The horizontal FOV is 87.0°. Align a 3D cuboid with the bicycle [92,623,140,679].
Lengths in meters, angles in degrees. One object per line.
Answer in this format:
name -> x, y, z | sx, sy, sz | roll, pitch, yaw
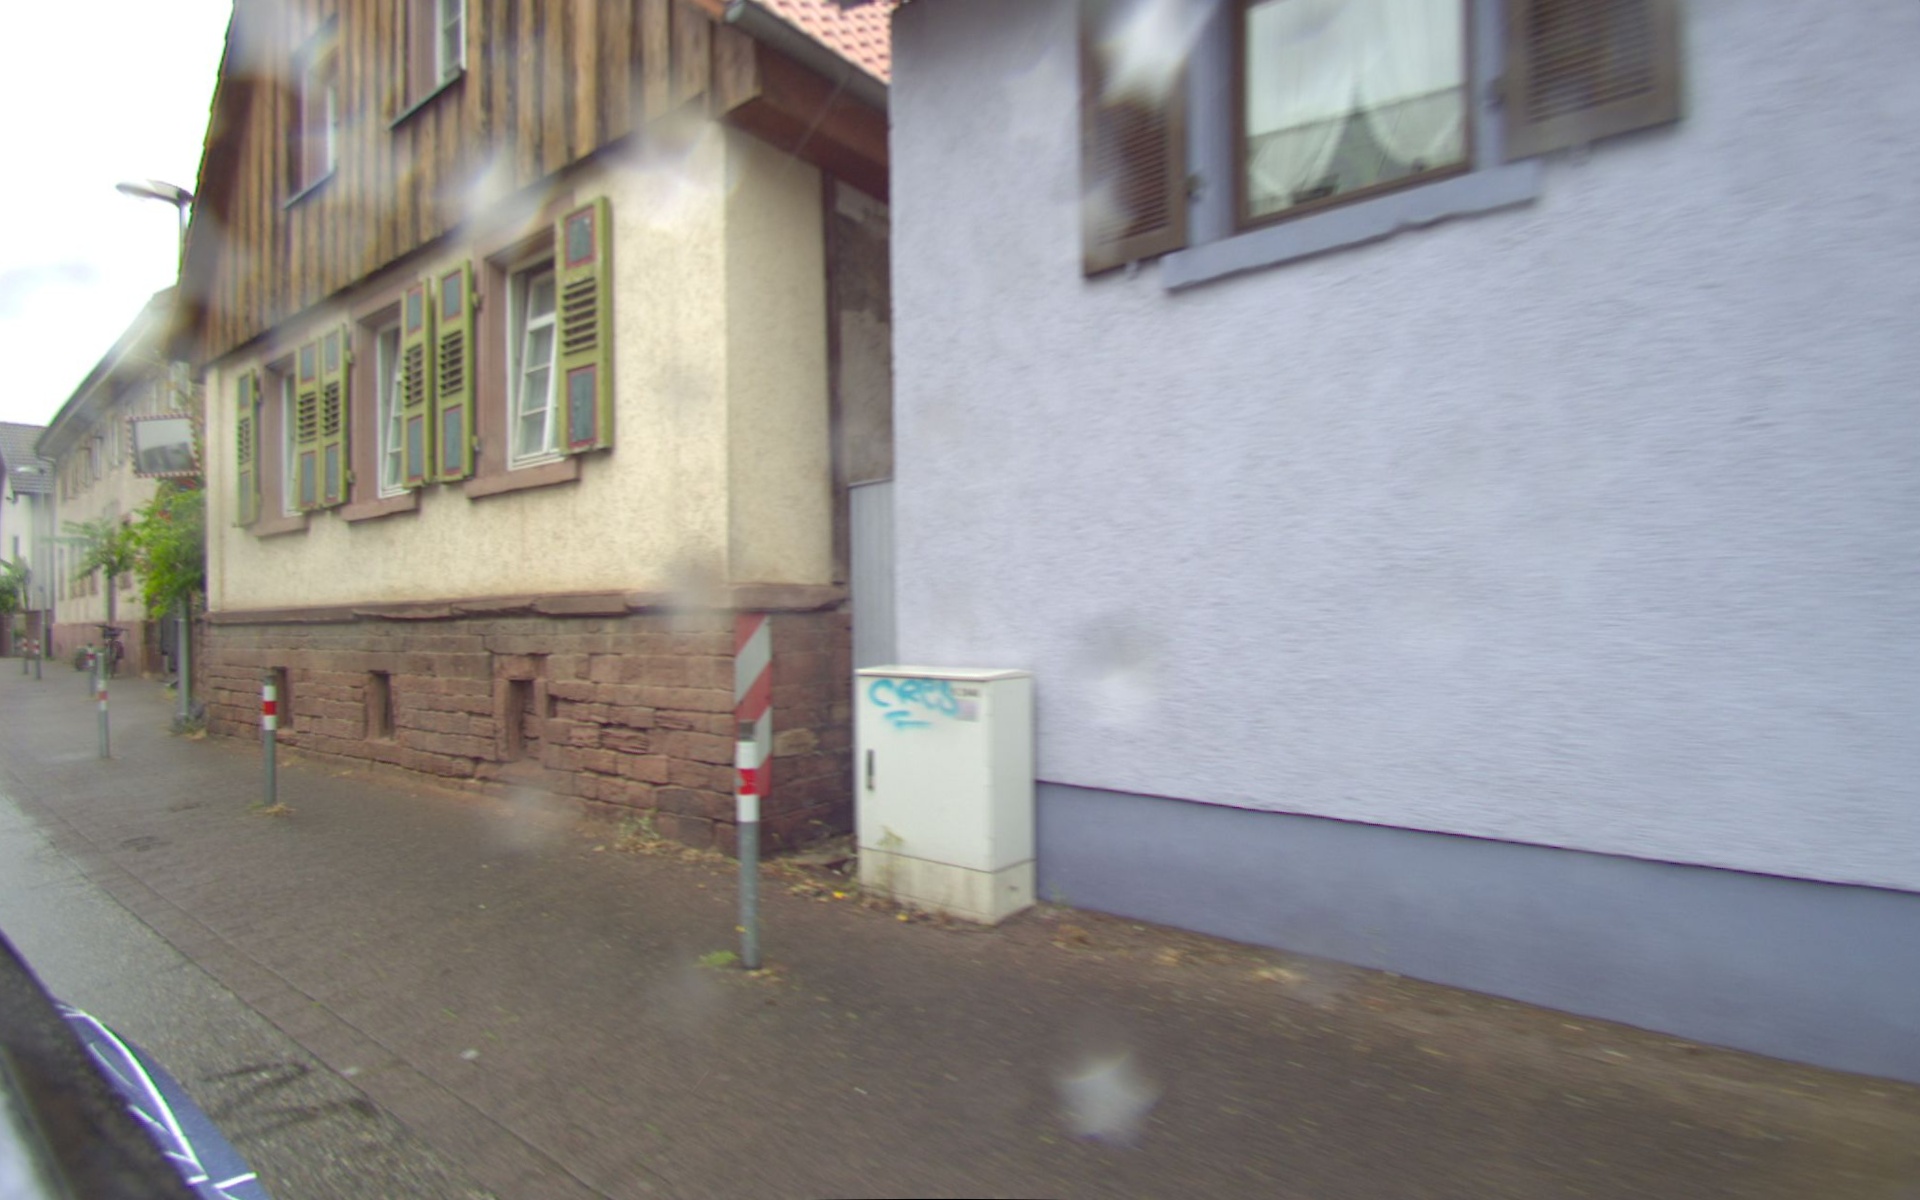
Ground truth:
bicycle -> -18.825, 1.122, 22.559 | 1.873, 1.187, 0.477 | -2, 0, 40
